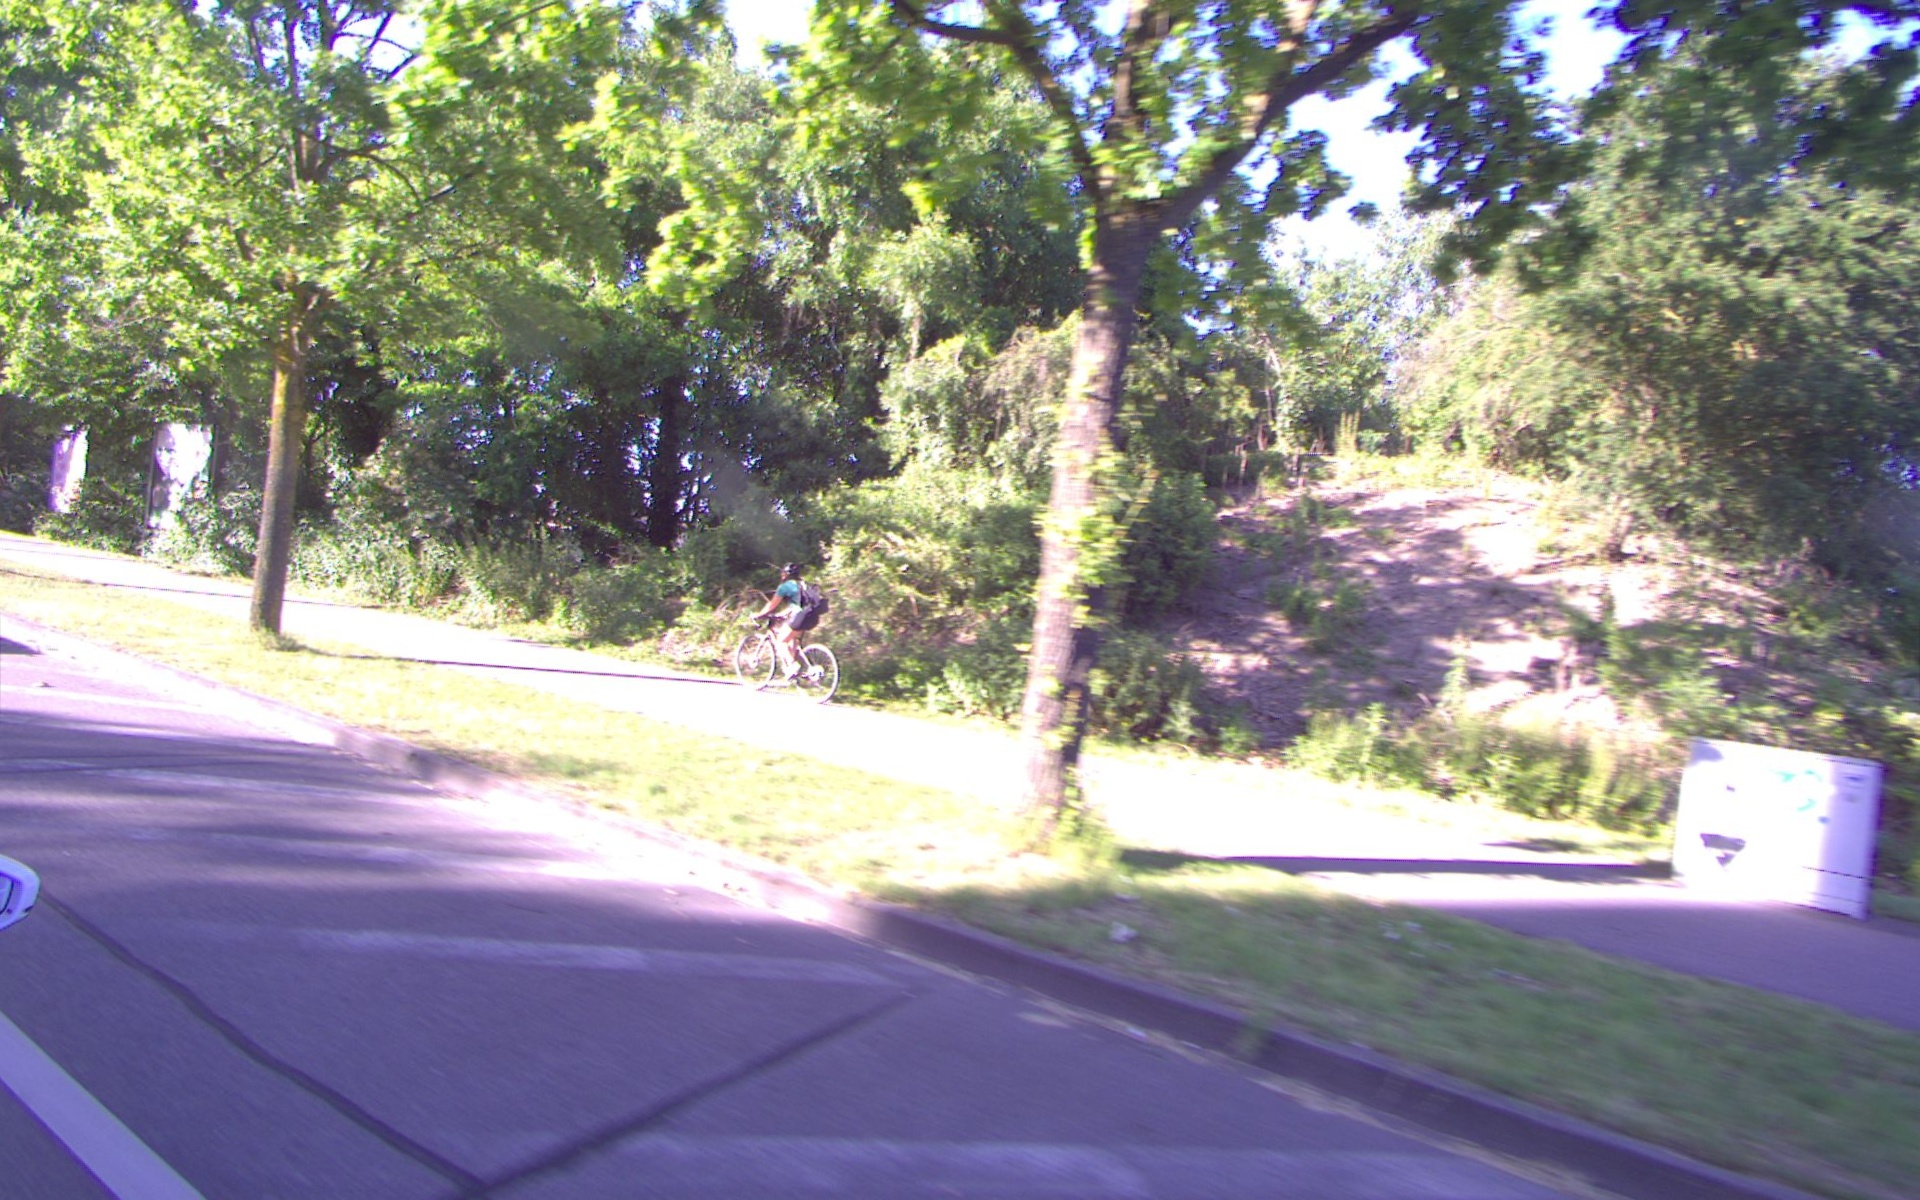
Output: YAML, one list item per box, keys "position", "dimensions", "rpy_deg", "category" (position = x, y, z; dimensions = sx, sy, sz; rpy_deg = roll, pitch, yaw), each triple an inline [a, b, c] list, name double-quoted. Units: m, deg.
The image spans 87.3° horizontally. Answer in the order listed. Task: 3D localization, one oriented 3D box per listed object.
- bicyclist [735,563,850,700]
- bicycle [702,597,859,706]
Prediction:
- position: [-2.055, 0.387, 12.356]
  dimensions: [1.018, 1.541, 0.686]
  rpy_deg: [7, 0, 28]
  category: "bicyclist"
- position: [-2.243, 0.622, 12.443]
  dimensions: [1.903, 1.085, 0.517]
  rpy_deg: [7, 0, 28]
  category: "bicycle"
